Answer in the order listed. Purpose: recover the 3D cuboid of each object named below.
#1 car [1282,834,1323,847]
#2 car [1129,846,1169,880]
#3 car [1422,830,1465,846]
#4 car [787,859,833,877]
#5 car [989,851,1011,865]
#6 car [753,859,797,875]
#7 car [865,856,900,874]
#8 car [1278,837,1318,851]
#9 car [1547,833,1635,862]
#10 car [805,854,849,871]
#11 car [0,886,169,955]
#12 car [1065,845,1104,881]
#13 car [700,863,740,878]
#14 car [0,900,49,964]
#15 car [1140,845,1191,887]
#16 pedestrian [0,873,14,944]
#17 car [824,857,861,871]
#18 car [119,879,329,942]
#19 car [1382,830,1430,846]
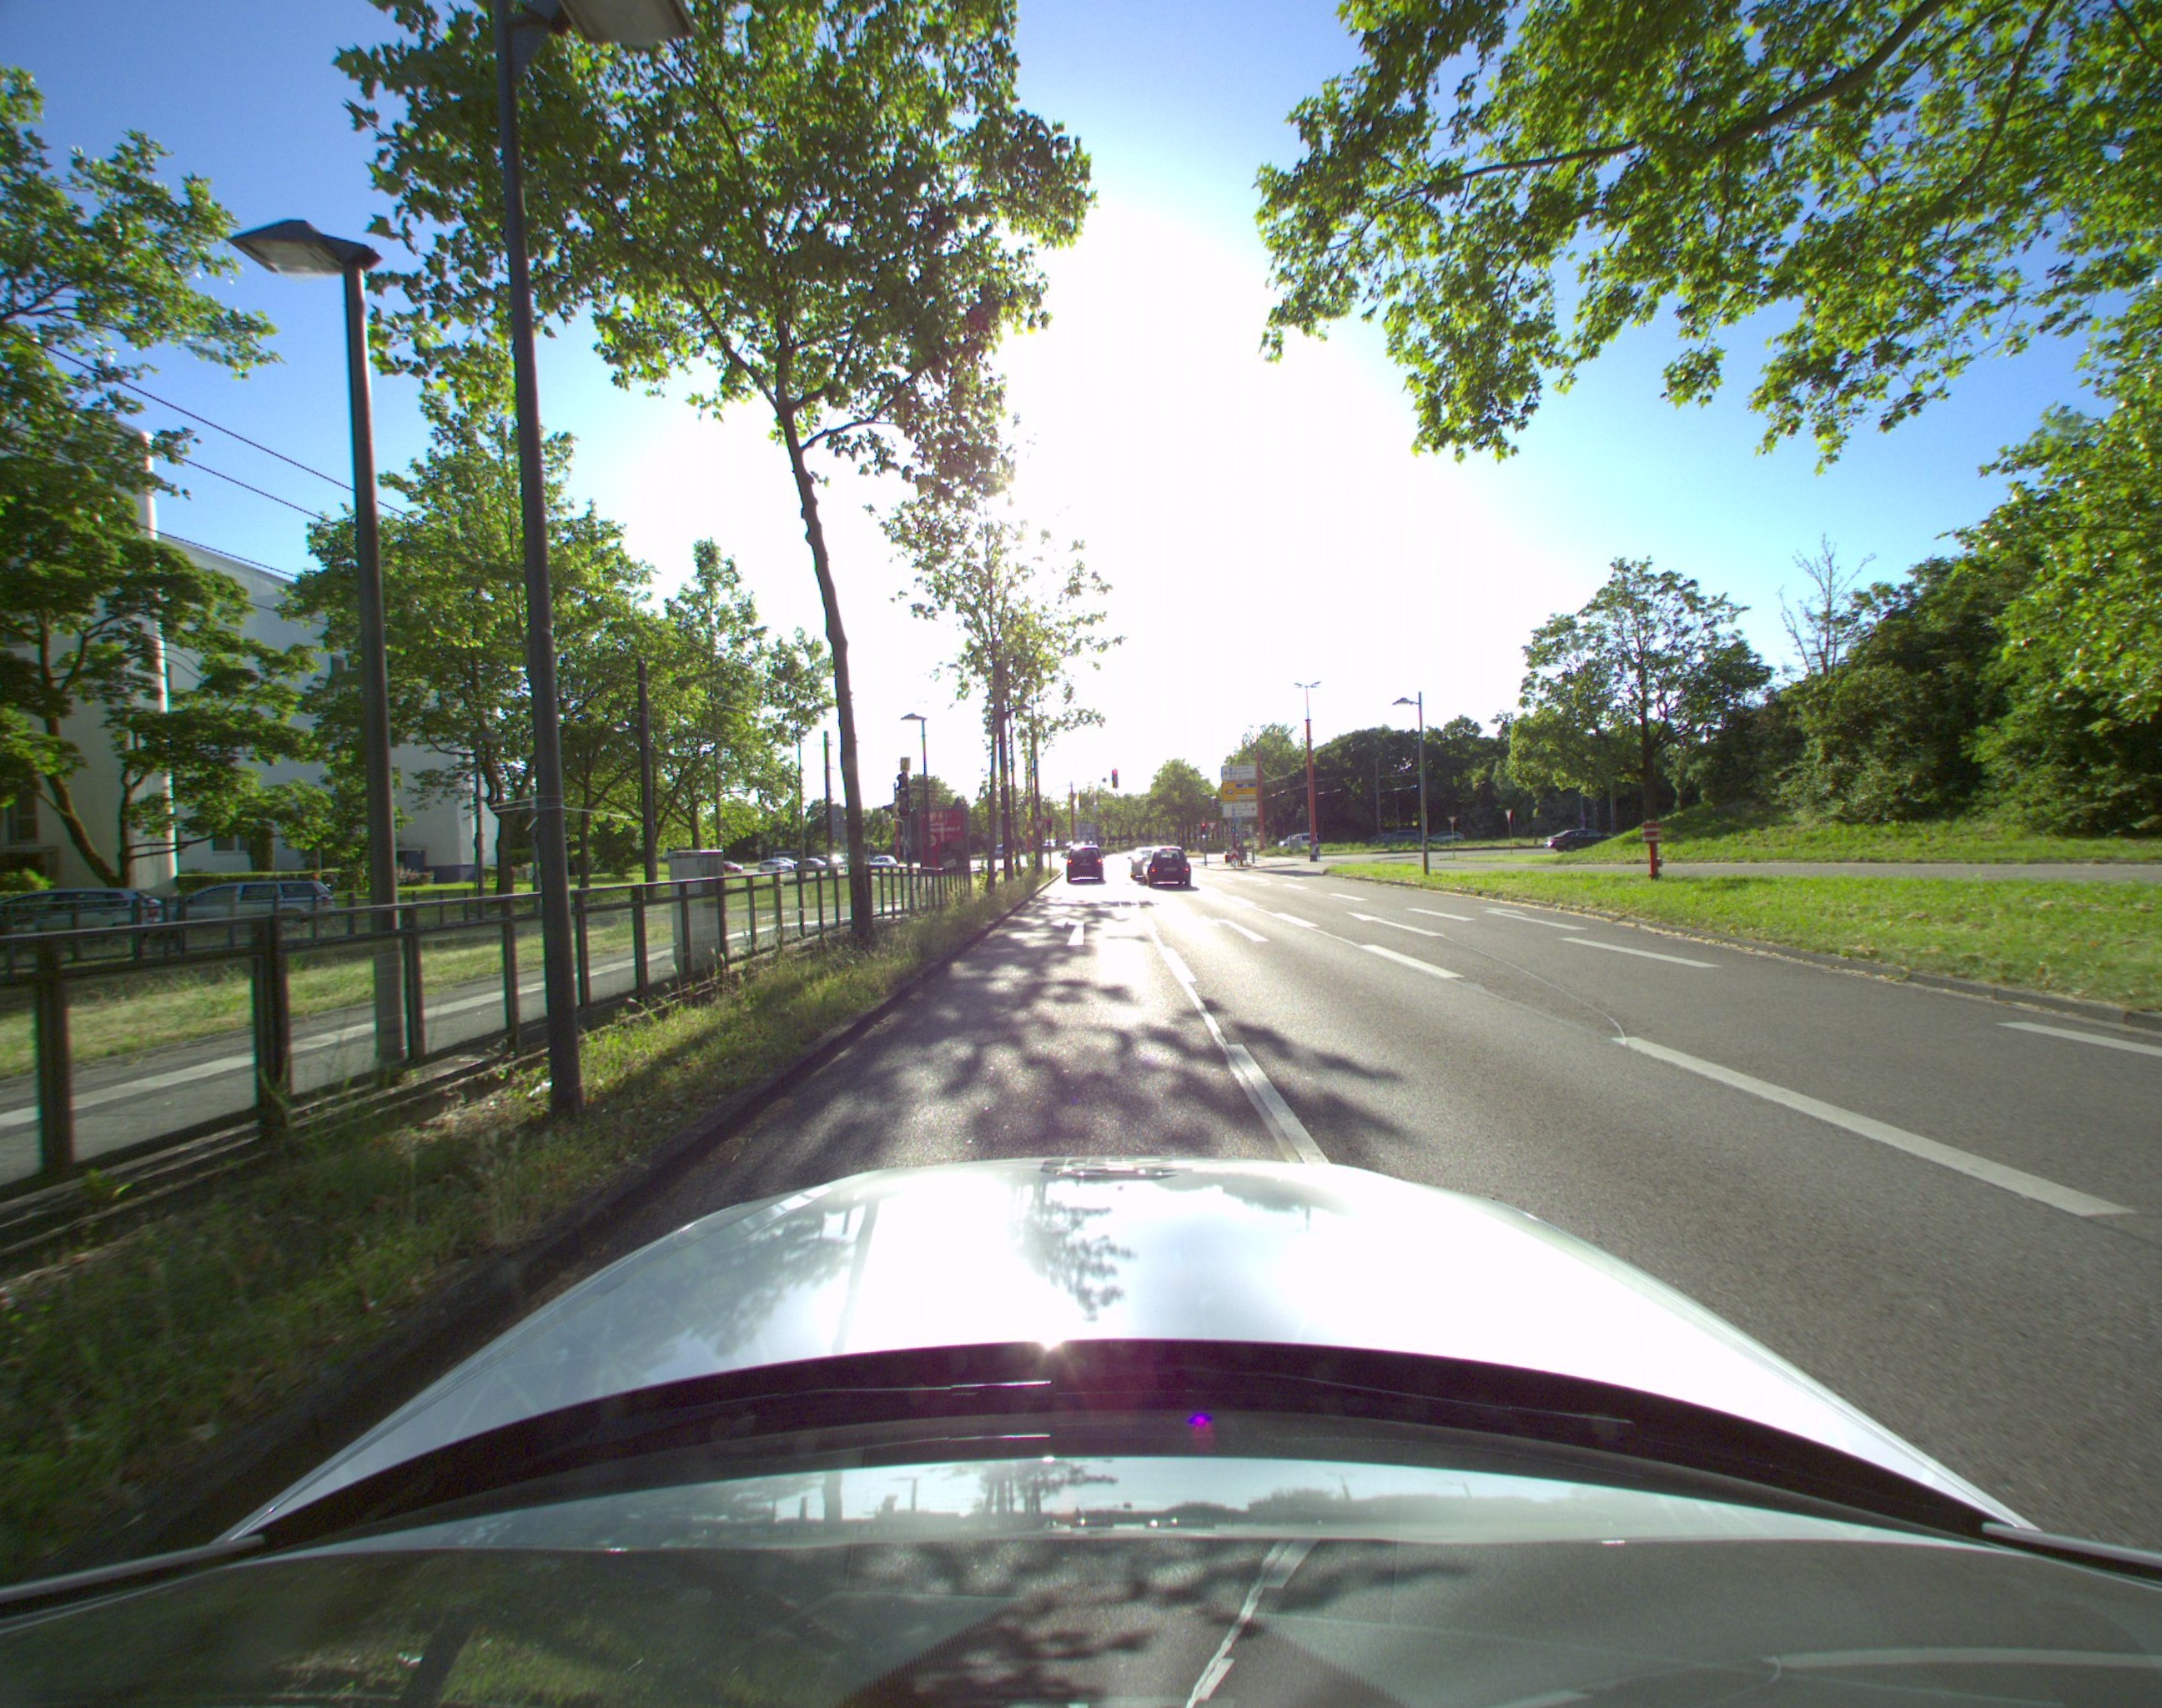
[{"bbox_3d":[23.834,-1.418,87.484,3.950,1.338,1.739,-1,0,26],"label":"car"},{"bbox_3d":[3.170,0.408,38.685,1.672,1.475,4.132,-1,0,2],"label":"car"},{"bbox_3d":[37.352,-1.653,83.952,3.950,1.495,1.872,-1,0,27],"label":"car"},{"bbox_3d":[-29.635,1.549,89.096,4.448,1.610,1.910,-3,2,19],"label":"car"},{"bbox_3d":[-10.729,0.539,107.967,1.812,1.780,4.579,-1,0,9],"label":"car"},{"bbox_3d":[-34.558,1.464,91.992,4.448,1.610,1.910,-3,1,19],"label":"car"},{"bbox_3d":[-16.189,0.891,66.567,1.624,1.449,3.723,-1,0,5],"label":"car"},{"bbox_3d":[24.250,-1.115,90.951,3.950,1.476,1.800,-1,0,26],"label":"car"},{"bbox_3d":[33.827,-0.431,54.127,4.567,1.792,1.995,-1,0,12],"label":"car"},{"bbox_3d":[-28.981,0.940,92.911,4.448,1.610,1.910,-3,2,19],"label":"car"},{"bbox_3d":[-24.252,1.559,19.332,3.305,1.431,1.552,-1,0,-42],"label":"car"},{"bbox_3d":[0.173,0.406,38.128,1.705,1.603,3.349,-2,0,0],"label":"car"},{"bbox_3d":[-41.949,1.891,94.654,4.001,1.436,1.825,-3,2,19],"label":"car"},{"bbox_3d":[-23.741,1.654,16.415,3.401,1.253,1.448,-1,0,-40],"label":"car"},{"bbox_3d":[3.270,0.427,32.077,1.634,1.494,3.503,-1,1,0],"label":"car"},{"bbox_3d":[-27.478,1.385,20.433,0.474,1.792,0.717,-1,0,0],"label":"pedestrian"},{"bbox_3d":[-29.127,1.219,99.554,3.954,1.621,1.910,-2,1,19],"label":"car"},{"bbox_3d":[-23.855,1.507,22.908,3.942,1.476,1.612,-1,0,-42],"label":"car"},{"bbox_3d":[33.005,-1.606,82.706,4.311,1.559,1.883,-1,0,25],"label":"car"}]
